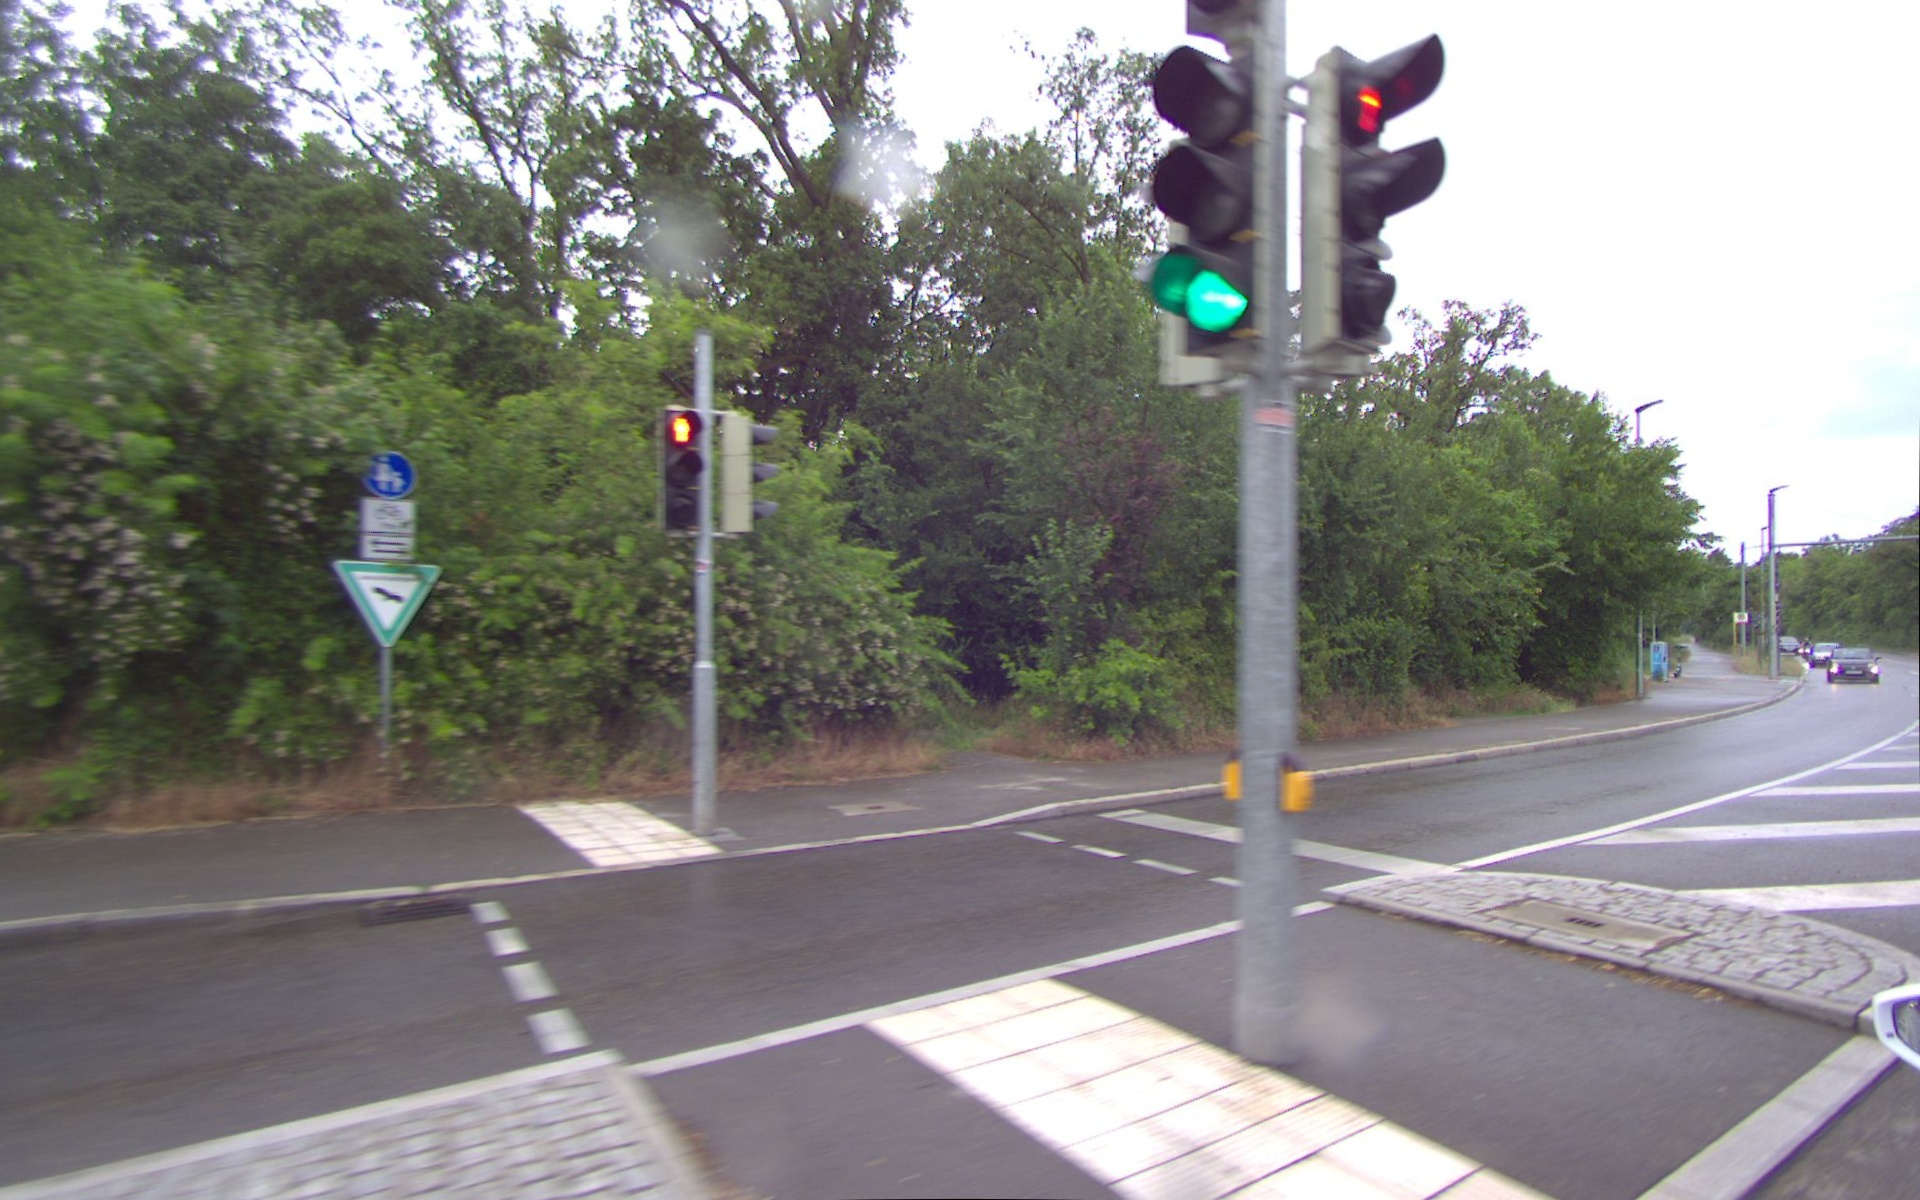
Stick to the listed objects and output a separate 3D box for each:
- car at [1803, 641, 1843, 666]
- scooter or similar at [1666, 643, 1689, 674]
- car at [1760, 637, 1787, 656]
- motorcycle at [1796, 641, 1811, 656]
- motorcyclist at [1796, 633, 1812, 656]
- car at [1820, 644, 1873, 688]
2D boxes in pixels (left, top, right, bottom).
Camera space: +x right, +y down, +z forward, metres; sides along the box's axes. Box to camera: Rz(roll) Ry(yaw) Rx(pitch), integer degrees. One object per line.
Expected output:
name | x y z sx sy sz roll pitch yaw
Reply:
car | 51.831 3.200 60.347 1.721 1.369 4.189 -3 -3 40
scooter or similar | 29.146 2.347 40.805 1.459 1.228 0.512 2 -2 -44
car | 71.461 4.080 88.185 1.768 1.602 4.541 -2 -3 39
motorcycle | 60.336 3.480 71.841 0.586 1.064 1.992 -2 -3 35
motorcyclist | 60.346 3.187 71.858 0.736 1.653 0.924 -2 -3 35
car | 37.797 2.779 42.900 1.558 1.753 3.756 -3 -3 40
